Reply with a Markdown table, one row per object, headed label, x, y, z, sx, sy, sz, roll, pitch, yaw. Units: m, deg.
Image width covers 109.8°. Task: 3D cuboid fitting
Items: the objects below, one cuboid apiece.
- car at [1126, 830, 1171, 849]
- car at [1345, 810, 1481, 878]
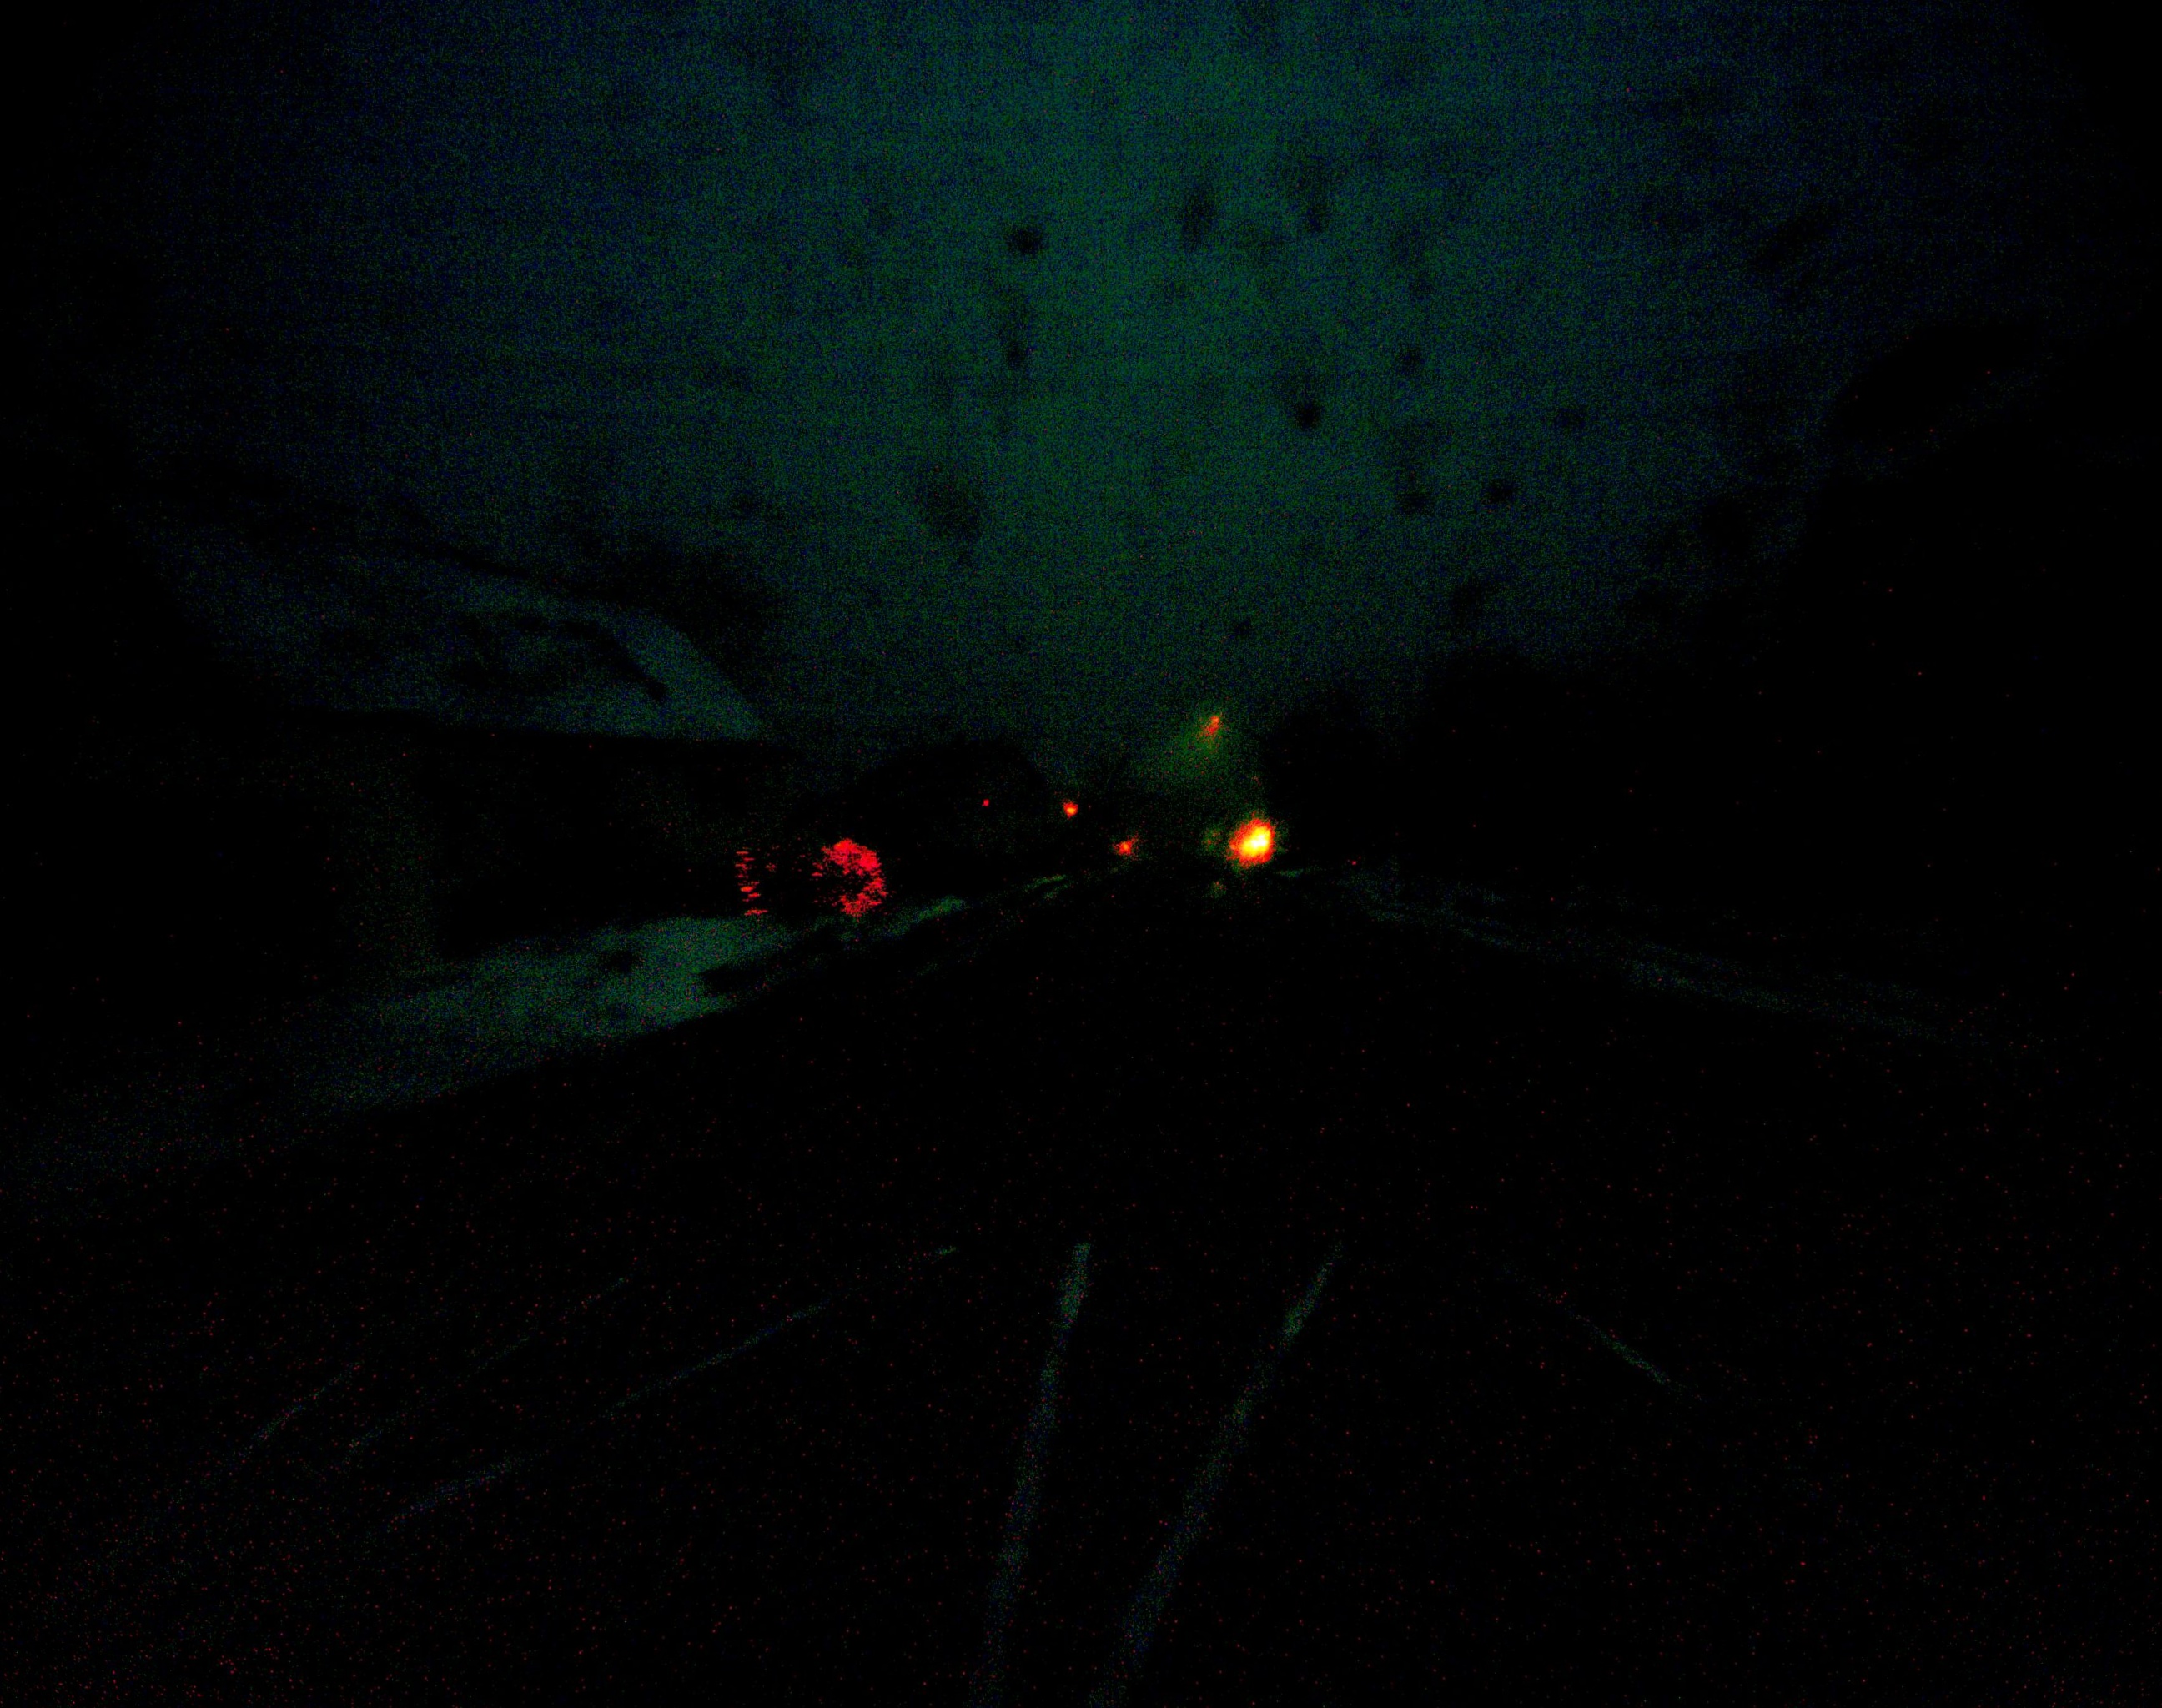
| label | x | y | z | sx | sy | sz | roll | pitch | yaw |
| --- | --- | --- | --- | --- | --- | --- | --- | --- | --- |
| car | 7.026 | -1.519 | 79.023 | 4.208 | 1.848 | 1.914 | 1 | 4 | 28 |
| car | 11.807 | -0.345 | 27.107 | 3.992 | 1.600 | 1.906 | -11 | 0 | 33 |
